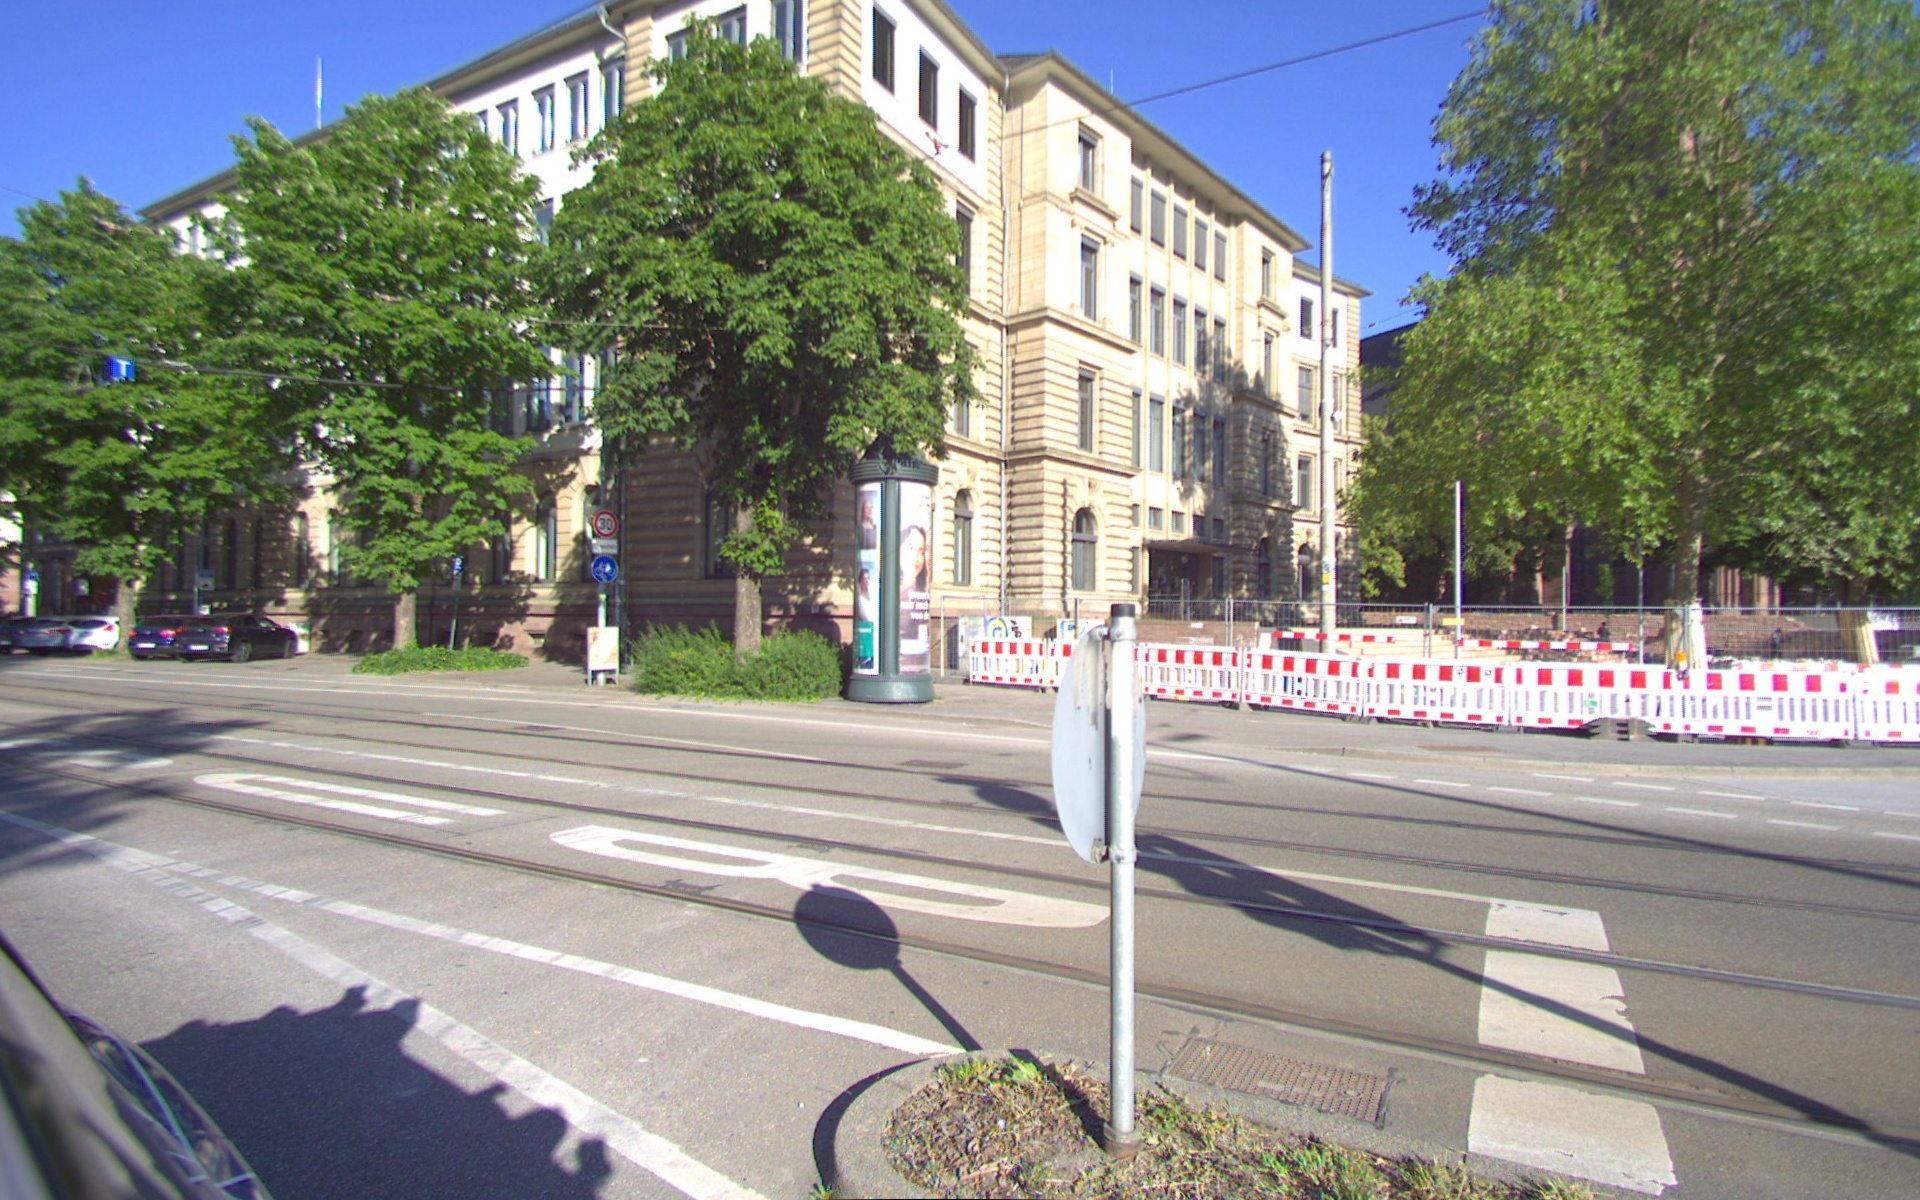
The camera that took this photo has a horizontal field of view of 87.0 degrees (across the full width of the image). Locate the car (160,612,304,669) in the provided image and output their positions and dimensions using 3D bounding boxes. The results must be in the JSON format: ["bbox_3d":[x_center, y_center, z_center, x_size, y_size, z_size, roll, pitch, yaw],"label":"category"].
[{"bbox_3d":[-23.614,1.262,33.035,1.819,1.643,4.184,-1,0,-3],"label":"car"}]

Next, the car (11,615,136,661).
[{"bbox_3d":[-33.227,1.392,38.065,1.626,1.572,3.652,-1,0,-3],"label":"car"}]

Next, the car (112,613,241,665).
[{"bbox_3d":[-26.243,1.272,34.037,1.626,1.572,3.652,-1,0,-3],"label":"car"}]

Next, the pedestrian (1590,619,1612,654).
[{"bbox_3d":[30.344,1.731,47.900,0.627,1.660,0.677,1,-2,-37],"label":"pedestrian"}]

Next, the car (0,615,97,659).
[{"bbox_3d":[-36.243,1.415,39.773,1.626,1.572,3.652,-1,0,-3],"label":"car"}]

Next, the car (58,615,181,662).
[{"bbox_3d":[-30.914,1.375,37.354,1.626,1.572,3.652,-1,0,-3],"label":"car"}]

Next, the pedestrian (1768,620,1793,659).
[{"bbox_3d":[36.214,1.735,44.665,0.666,1.660,0.762,1,-2,-45],"label":"pedestrian"}]
